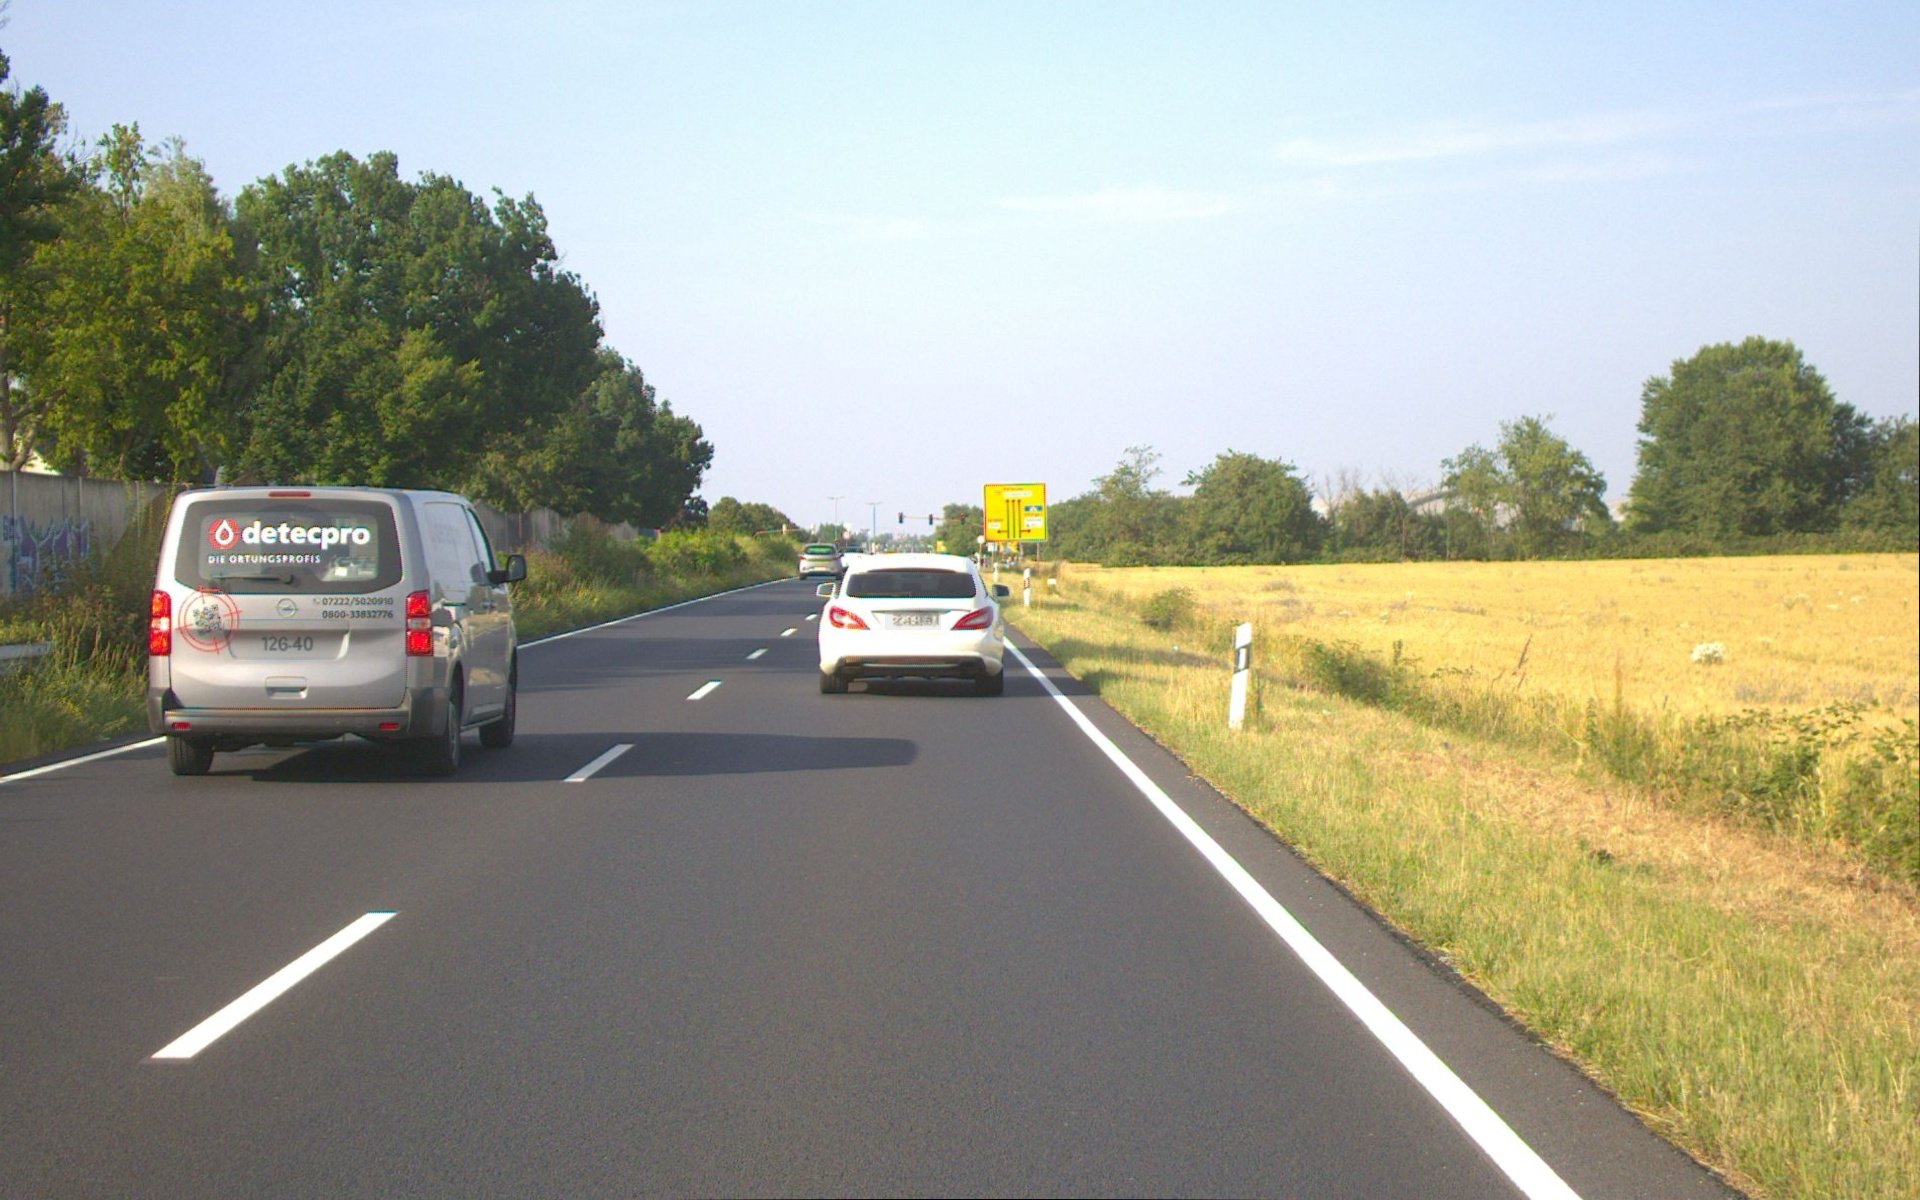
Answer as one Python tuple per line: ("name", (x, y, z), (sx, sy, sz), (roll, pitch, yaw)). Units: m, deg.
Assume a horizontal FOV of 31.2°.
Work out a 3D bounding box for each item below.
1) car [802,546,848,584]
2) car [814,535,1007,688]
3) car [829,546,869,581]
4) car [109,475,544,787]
("car", (-5.488, -1.433, 140.413), (1.717, 1.487, 3.584), (1, 1, 0))
("car", (-0.514, 0.098, 35.773), (1.894, 1.503, 4.000), (0, 1, -1))
("car", (-5.379, -1.768, 166.825), (1.877, 1.645, 3.664), (1, 1, -2))
("car", (-4.185, 0.145, 23.551), (2.025, 1.885, 4.958), (1, 1, 0))
